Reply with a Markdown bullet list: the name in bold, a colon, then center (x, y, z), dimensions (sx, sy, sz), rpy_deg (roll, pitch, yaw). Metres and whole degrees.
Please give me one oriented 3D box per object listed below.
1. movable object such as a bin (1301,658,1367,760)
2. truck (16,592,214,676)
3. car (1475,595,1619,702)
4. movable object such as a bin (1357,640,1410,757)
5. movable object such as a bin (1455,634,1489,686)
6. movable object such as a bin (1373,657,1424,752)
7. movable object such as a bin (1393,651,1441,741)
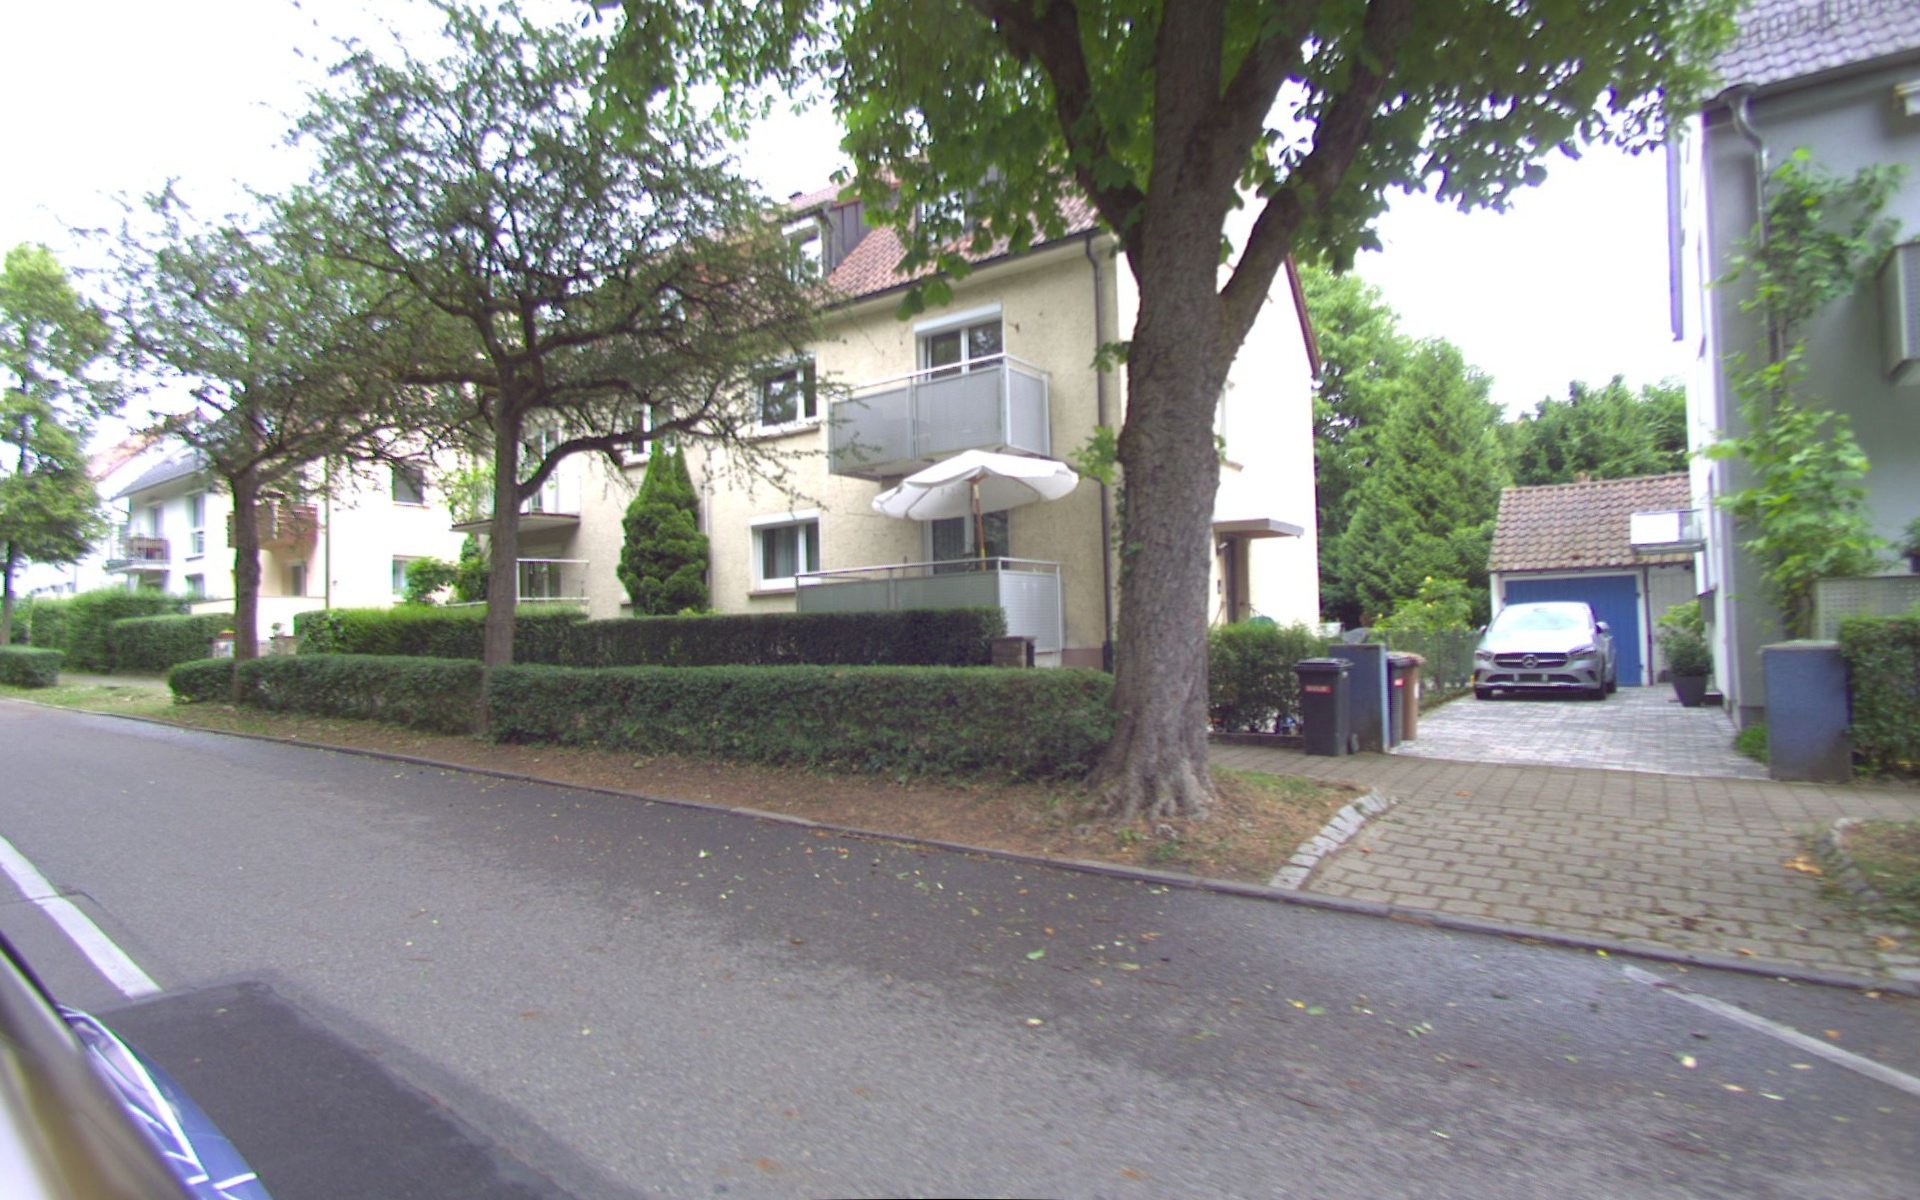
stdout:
- **movable object such as a bin**: center (3.557, 1.021, 9.622), dimensions (0.506, 0.922, 0.452), rpy_deg (-2, -3, 31)
- **truck**: center (-34.239, 1.363, 41.198), dimensions (2.511, 3.155, 5.748), rpy_deg (-2, -2, 34)
- **car**: center (9.627, 0.803, 16.588), dimensions (1.794, 1.522, 3.957), rpy_deg (-2, -4, 31)
- **movable object such as a bin**: center (4.112, 0.941, 9.835), dimensions (0.404, 1.097, 0.377), rpy_deg (-2, -3, 32)
- **movable object such as a bin**: center (10.713, 1.249, 21.170), dimensions (0.547, 1.048, 0.498), rpy_deg (-2, -3, 35)
- **movable object such as a bin**: center (4.390, 1.030, 10.122), dimensions (0.404, 0.920, 0.377), rpy_deg (-2, -3, 32)
- **movable object such as a bin**: center (4.807, 0.995, 10.639), dimensions (0.404, 0.920, 0.377), rpy_deg (-2, -3, 32)
